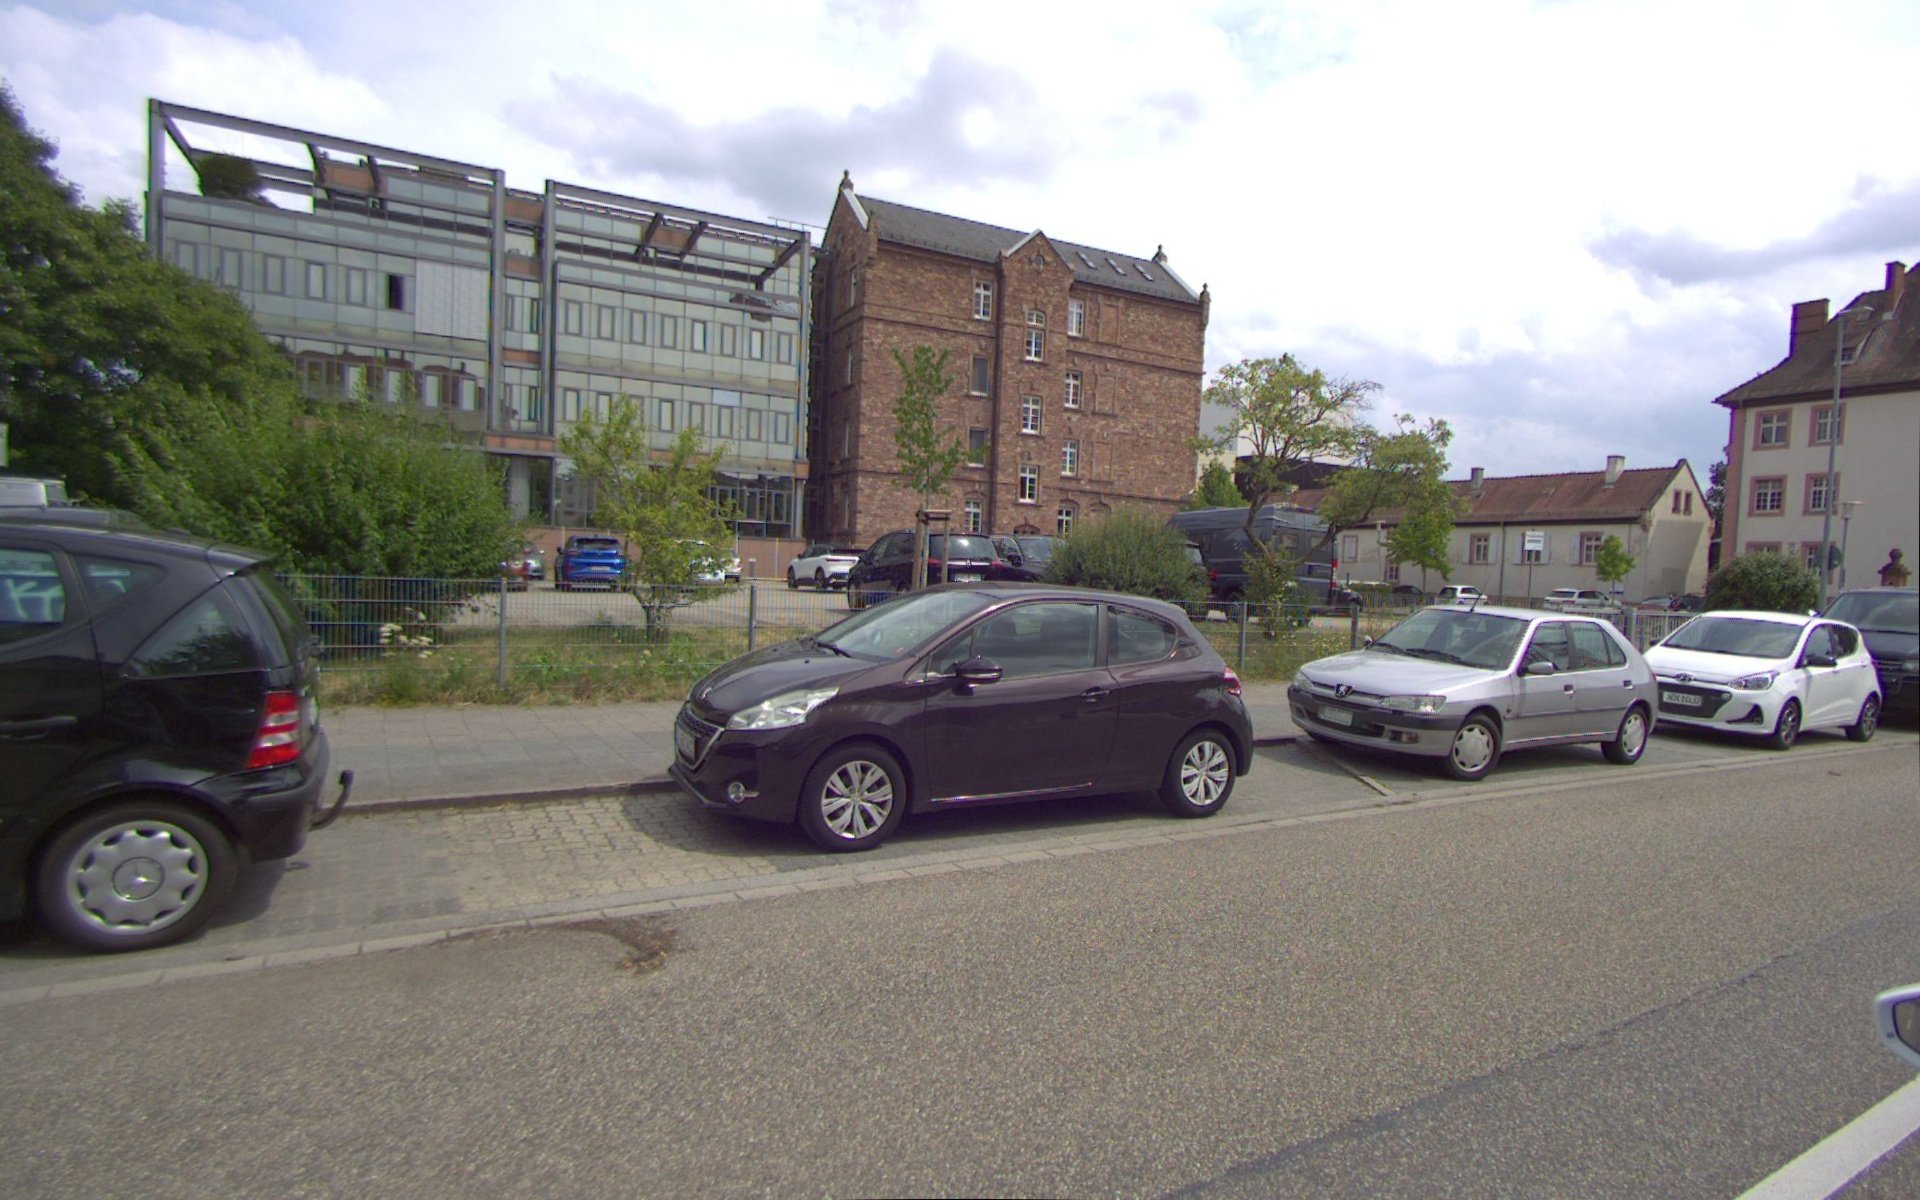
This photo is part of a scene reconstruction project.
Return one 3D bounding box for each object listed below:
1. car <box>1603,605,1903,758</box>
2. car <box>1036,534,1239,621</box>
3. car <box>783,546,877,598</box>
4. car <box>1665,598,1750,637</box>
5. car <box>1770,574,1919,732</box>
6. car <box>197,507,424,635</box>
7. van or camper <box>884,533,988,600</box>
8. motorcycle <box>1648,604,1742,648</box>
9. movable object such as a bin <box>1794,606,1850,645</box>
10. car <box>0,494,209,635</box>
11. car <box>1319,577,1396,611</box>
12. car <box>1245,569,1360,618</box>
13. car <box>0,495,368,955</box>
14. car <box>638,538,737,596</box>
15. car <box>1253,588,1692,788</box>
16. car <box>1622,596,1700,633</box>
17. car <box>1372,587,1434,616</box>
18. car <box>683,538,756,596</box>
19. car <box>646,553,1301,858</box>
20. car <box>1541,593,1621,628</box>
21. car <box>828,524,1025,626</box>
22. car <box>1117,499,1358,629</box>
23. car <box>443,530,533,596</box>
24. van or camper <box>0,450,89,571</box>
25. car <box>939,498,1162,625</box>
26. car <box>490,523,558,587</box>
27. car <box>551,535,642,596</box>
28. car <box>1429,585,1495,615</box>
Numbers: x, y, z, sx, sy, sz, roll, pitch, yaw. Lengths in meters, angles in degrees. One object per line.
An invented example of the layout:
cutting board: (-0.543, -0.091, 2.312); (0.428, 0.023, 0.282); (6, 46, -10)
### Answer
car: (9.928, 0.928, 12.540); (3.721, 1.550, 1.645); (1, 3, -31)
car: (3.706, -0.534, 21.923); (1.974, 1.640, 4.680); (1, 2, -26)
car: (-4.211, -0.929, 32.012); (1.596, 1.503, 4.138); (1, 2, -28)
car: (36.587, 0.816, 49.140); (3.906, 1.734, 1.760); (-1, 3, -27)
car: (14.599, 0.760, 15.173); (4.785, 2.031, 1.939); (2, 3, -29)
car: (-9.122, -0.428, 14.492); (1.971, 1.503, 3.978); (3, 2, -22)
van or camper: (-1.149, -1.480, 44.880); (2.550, 2.739, 5.025); (2, 1, -29)
motorcycle: (21.108, 0.730, 28.892); (0.715, 1.157, 2.085); (2, 0, -23)
movable object such as a bin: (35.842, 1.054, 41.770); (1.550, 1.487, 1.197); (2, 2, -27)
car: (-11.327, -0.497, 12.656); (1.971, 1.503, 3.978); (3, 2, -22)
car: (22.208, -0.310, 56.072); (4.111, 1.734, 1.579); (1, 2, -26)
car: (13.565, -0.239, 39.728); (4.185, 1.678, 1.954); (3, 2, -29)
car: (-4.486, 0.370, 3.650); (3.957, 1.596, 1.612); (2, 2, -33)
car: (-8.085, -0.994, 29.528); (1.946, 1.503, 3.970); (3, 2, -28)
car: (4.944, 0.720, 9.546); (4.214, 1.477, 1.678); (1, 2, -31)
car: (35.978, 0.715, 51.543); (3.648, 1.734, 1.760); (-1, 3, -27)
car: (28.757, 0.069, 65.203); (3.648, 1.734, 1.760); (-1, 3, -27)
car: (-9.941, -1.318, 41.304); (2.173, 2.165, 4.350); (2, 1, -24)
car: (0.152, 0.553, 6.666); (3.999, 1.490, 1.680); (2, 2, -29)
car: (34.029, 0.554, 55.058); (4.234, 1.734, 1.760); (-1, 3, -27)
car: (-0.838, -0.519, 19.533); (1.974, 1.696, 5.069); (1, 2, -25)
car: (6.178, -0.935, 23.210); (2.324, 2.586, 5.292); (2, 4, -26)
car: (-12.564, -1.002, 26.603); (1.958, 1.503, 3.970); (3, 2, -28)
van or camper: (-25.021, -2.294, 24.870); (4.840, 2.911, 1.985); (2, 2, -28)
car: (1.623, -0.746, 20.300); (2.198, 2.179, 5.069); (1, 1, -25)
car: (-16.378, -1.647, 37.620); (1.947, 2.165, 4.199); (2, 1, -29)
car: (-10.255, -0.993, 28.156); (1.835, 1.503, 3.970); (3, 2, -28)
car: (31.010, -0.024, 62.061); (3.648, 1.734, 1.760); (-1, 3, -27)
